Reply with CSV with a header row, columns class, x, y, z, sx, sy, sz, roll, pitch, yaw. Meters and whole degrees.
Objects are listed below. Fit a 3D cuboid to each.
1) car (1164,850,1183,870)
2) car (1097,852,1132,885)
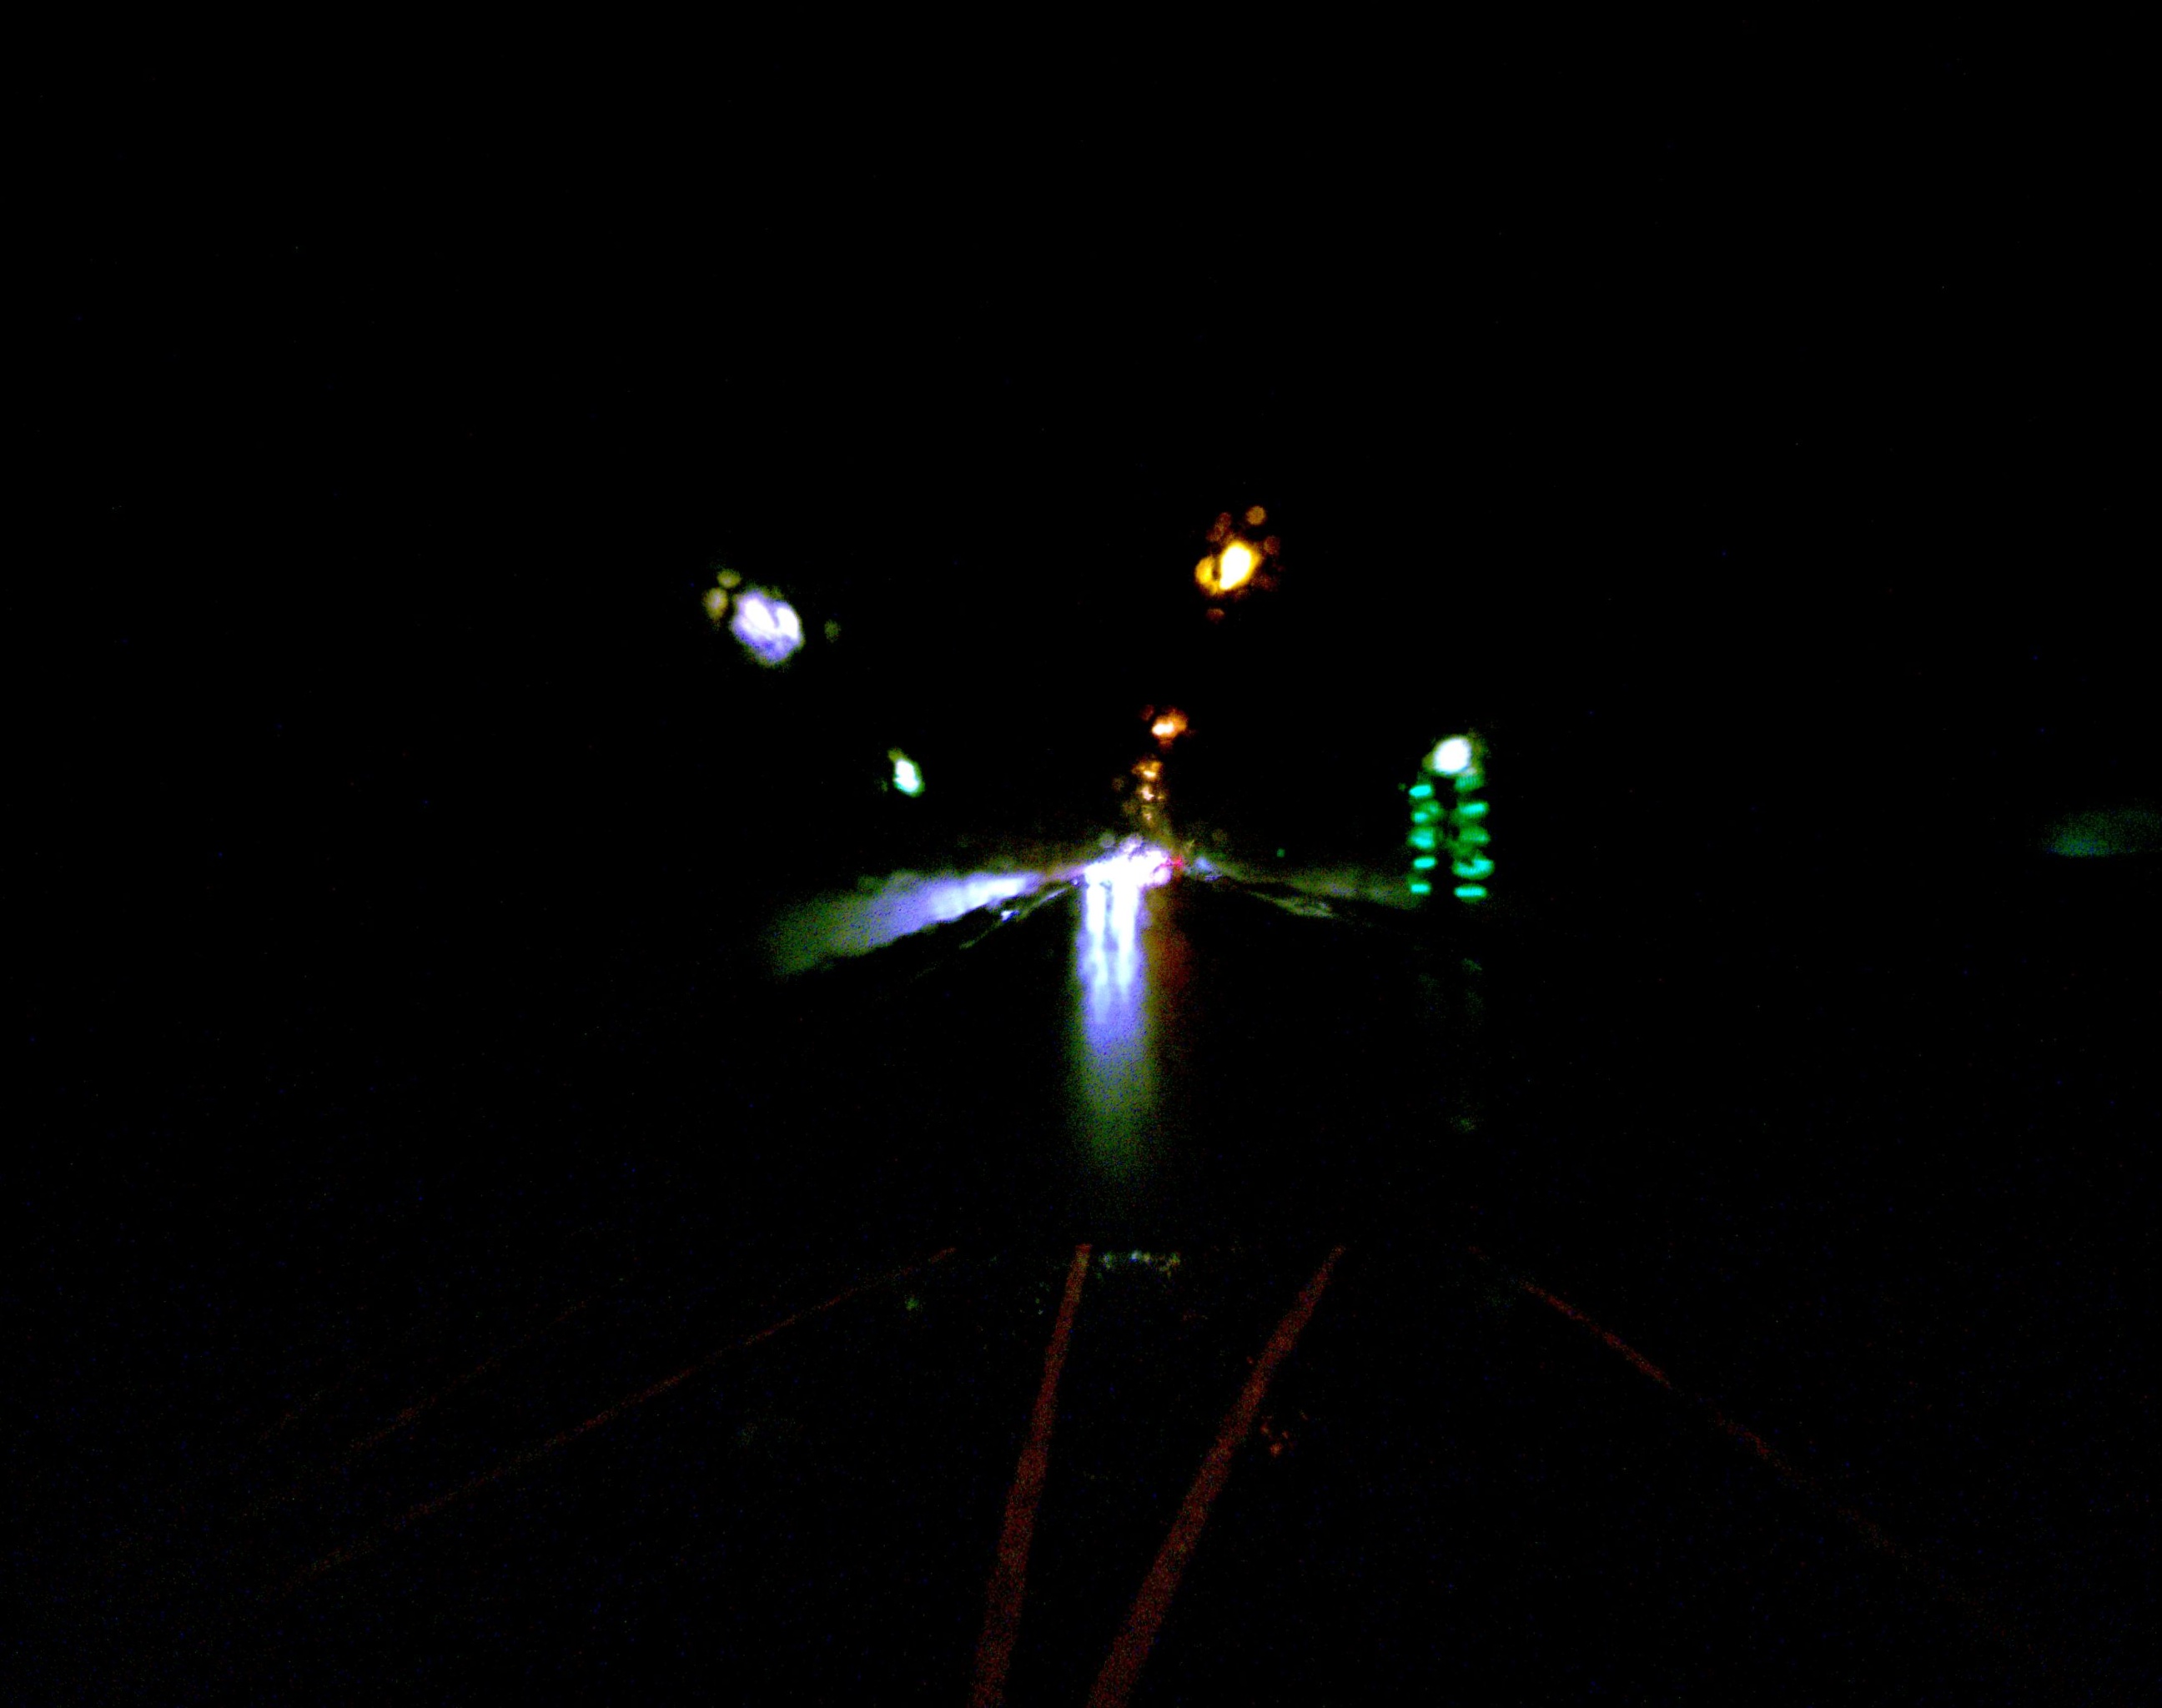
class,x,y,z,sx,sy,sz,roll,pitch,yaw
car,8.414,0.523,69.128,1.634,1.640,3.777,-2,0,7
car,1.894,0.772,41.794,1.730,1.595,4.000,-4,0,3
